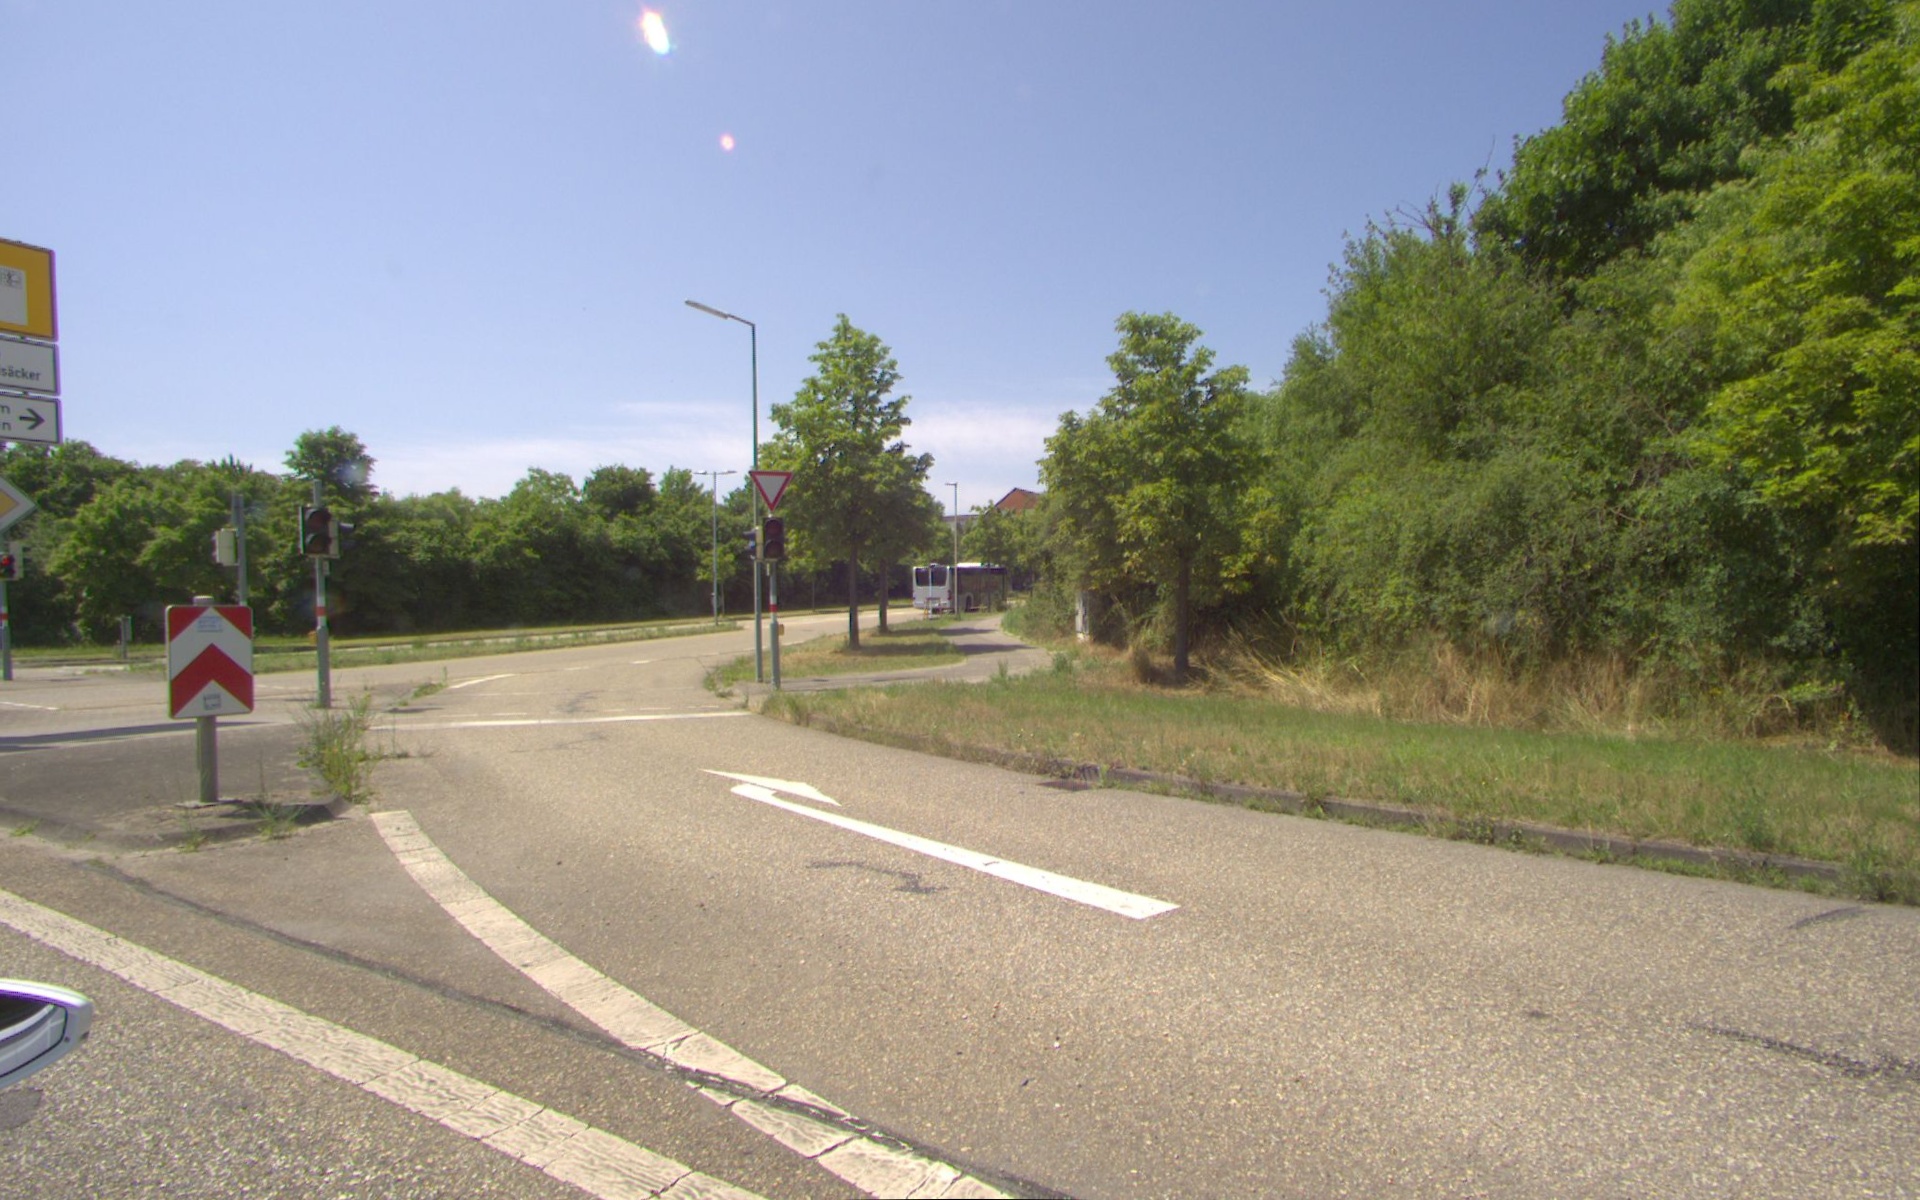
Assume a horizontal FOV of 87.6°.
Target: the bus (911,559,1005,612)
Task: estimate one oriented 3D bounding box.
[{"bbox_3d":[0.132,-0.860,65.771,2.584,3.127,12.060,0,0,18],"label":"bus"}]
